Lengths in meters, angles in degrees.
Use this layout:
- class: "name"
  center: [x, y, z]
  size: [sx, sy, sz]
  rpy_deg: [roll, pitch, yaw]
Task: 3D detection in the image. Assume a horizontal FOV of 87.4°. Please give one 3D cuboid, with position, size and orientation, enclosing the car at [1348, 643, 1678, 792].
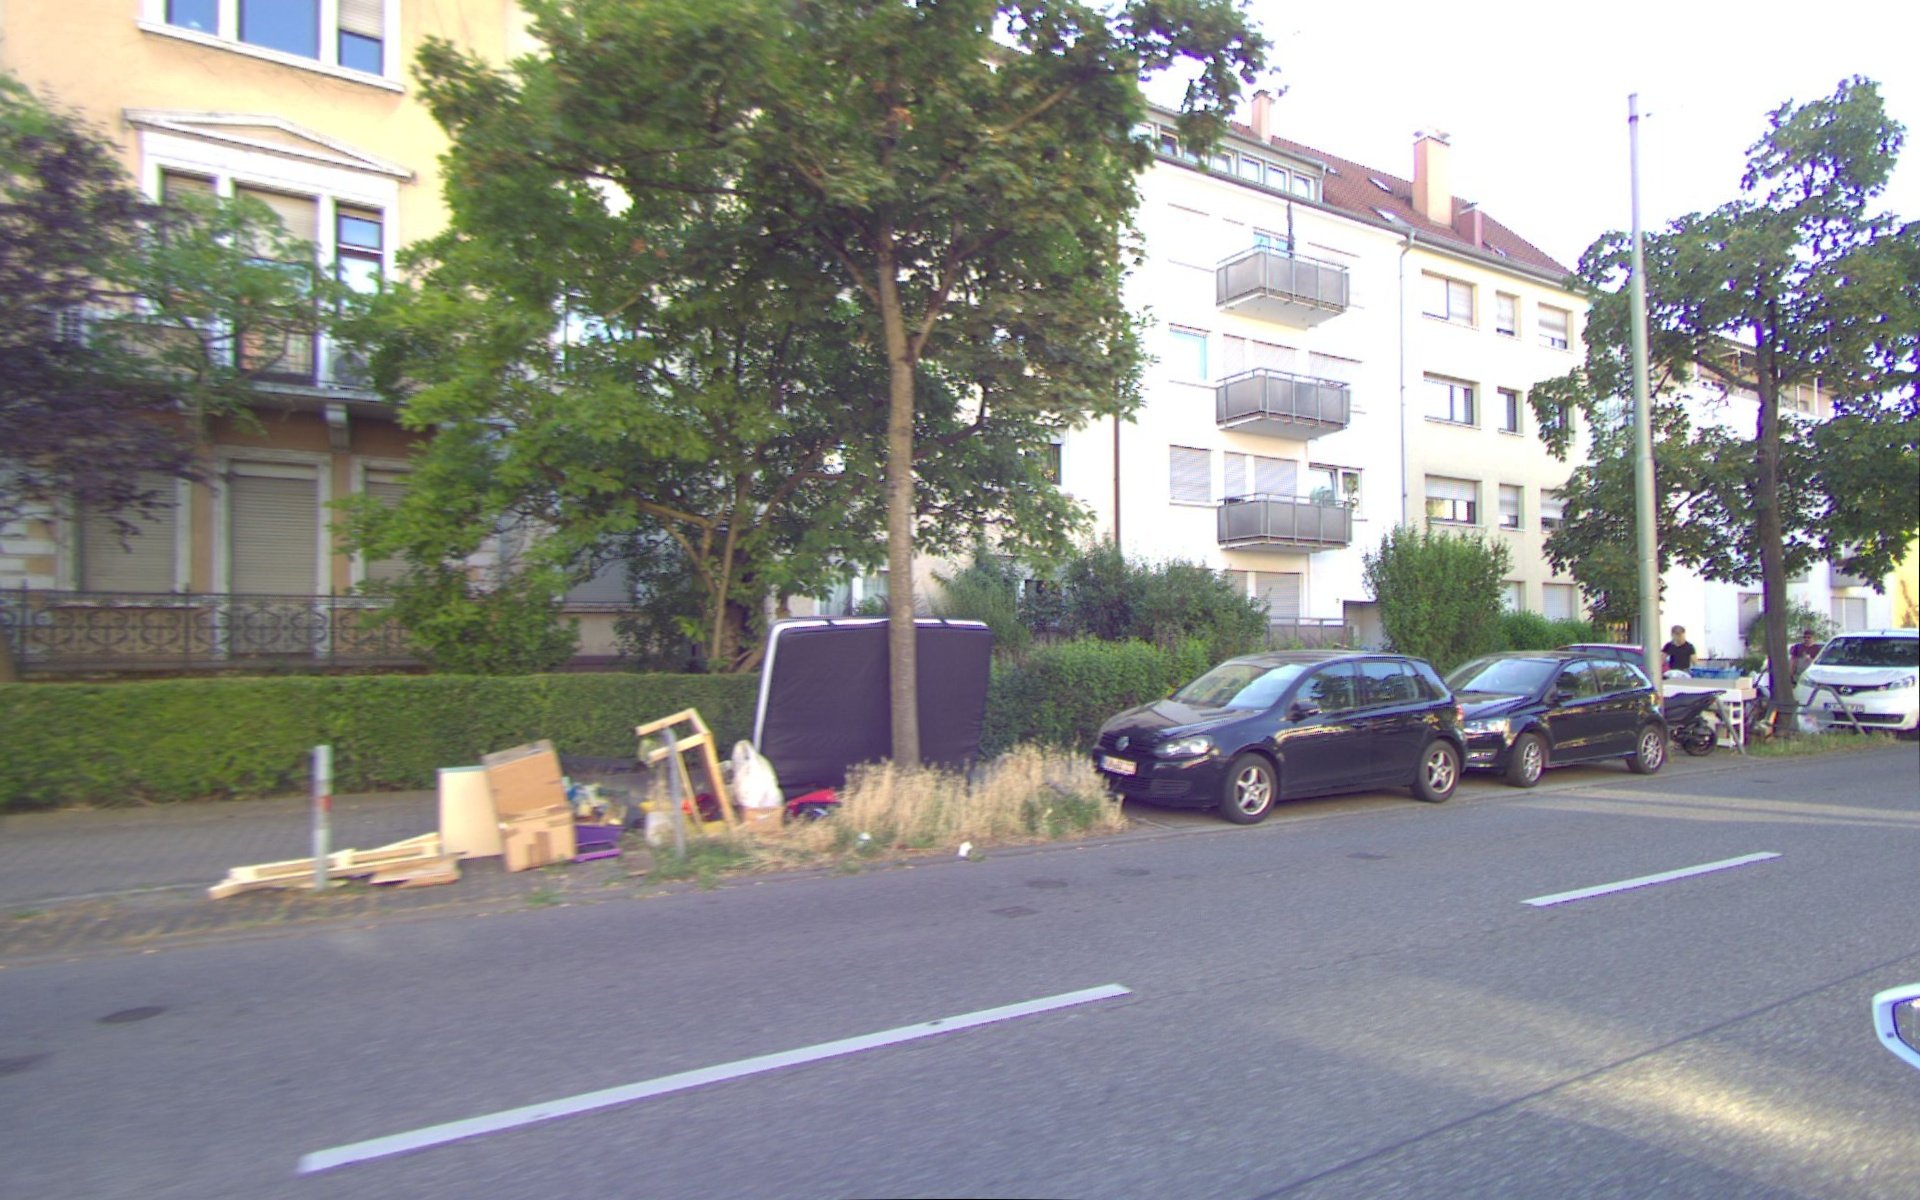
- class: "car"
  center: [6.794, 1.308, 12.274]
  size: [3.931, 1.522, 1.742]
  rpy_deg: [1, -2, -30]

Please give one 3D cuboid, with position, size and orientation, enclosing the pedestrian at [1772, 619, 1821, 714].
- class: "pedestrian"
  center: [18.457, 1.452, 22.163]
  size: [0.609, 2.040, 0.624]
  rpy_deg: [1, -2, -30]

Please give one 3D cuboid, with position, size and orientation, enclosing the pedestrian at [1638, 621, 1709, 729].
- class: "pedestrian"
  center: [13.833, 1.432, 19.489]
  size: [0.964, 2.040, 0.764]
  rpy_deg: [1, -2, -30]

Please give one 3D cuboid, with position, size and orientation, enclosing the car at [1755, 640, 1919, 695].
- class: "car"
  center: [27.328, 2.013, 31.026]
  size: [1.978, 1.498, 3.965]
  rpy_deg: [1, -1, -32]

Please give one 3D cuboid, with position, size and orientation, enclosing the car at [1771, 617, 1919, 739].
- class: "car"
  center: [16.538, 1.298, 17.893]
  size: [4.406, 1.944, 1.762]
  rpy_deg: [1, -2, -30]

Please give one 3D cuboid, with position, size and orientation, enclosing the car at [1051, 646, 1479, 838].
- class: "car"
  center: [3.105, 1.246, 10.057]
  size: [4.146, 1.522, 1.742]
  rpy_deg: [1, -2, -30]

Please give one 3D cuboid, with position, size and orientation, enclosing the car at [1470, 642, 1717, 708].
- class: "car"
  center: [15.128, 1.728, 24.188]
  size: [1.985, 1.380, 4.669]
  rpy_deg: [1, -3, -42]

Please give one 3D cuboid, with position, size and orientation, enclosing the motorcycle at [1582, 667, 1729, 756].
- class: "motorcycle"
  center: [9.795, 1.561, 14.183]
  size: [1.672, 1.207, 0.442]
  rpy_deg: [-1, -2, 8]
